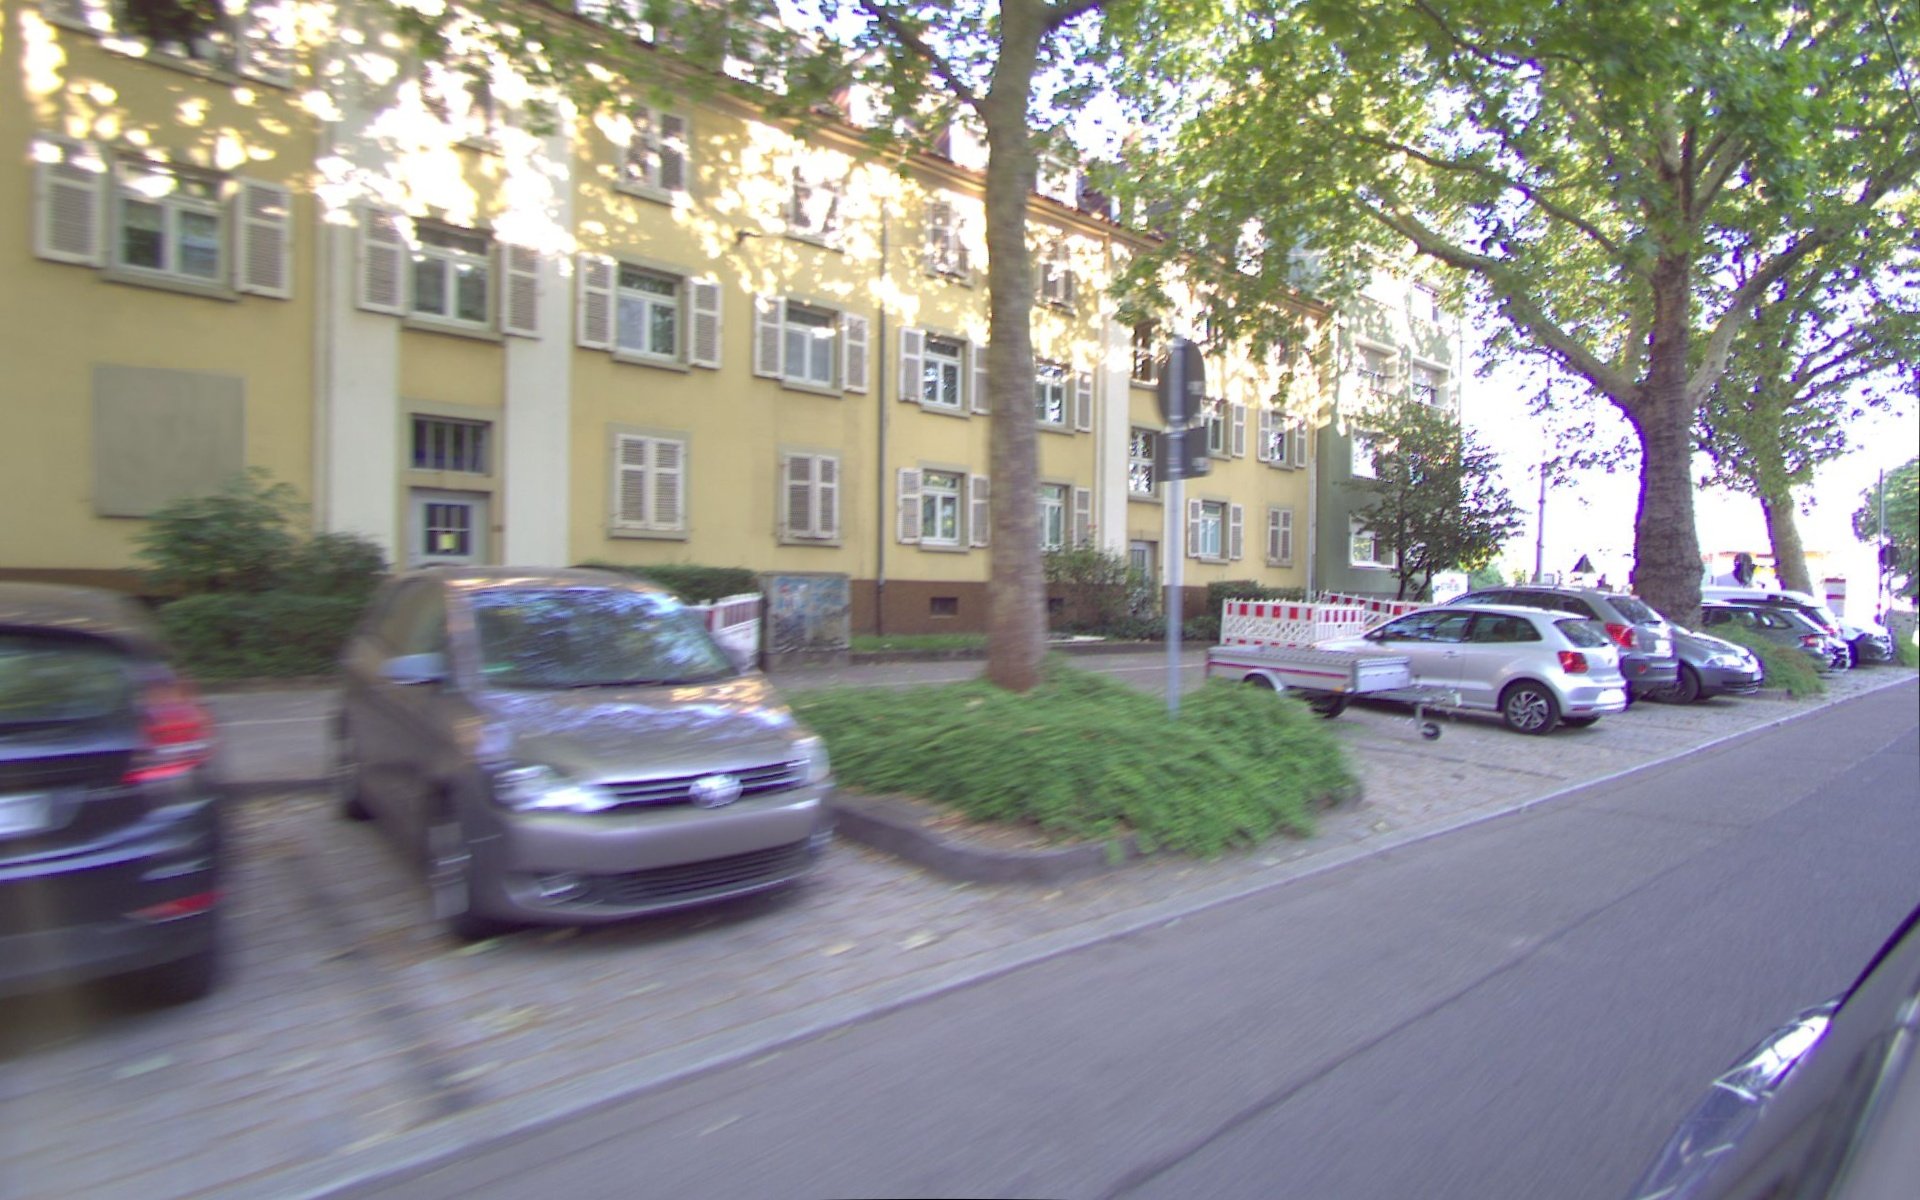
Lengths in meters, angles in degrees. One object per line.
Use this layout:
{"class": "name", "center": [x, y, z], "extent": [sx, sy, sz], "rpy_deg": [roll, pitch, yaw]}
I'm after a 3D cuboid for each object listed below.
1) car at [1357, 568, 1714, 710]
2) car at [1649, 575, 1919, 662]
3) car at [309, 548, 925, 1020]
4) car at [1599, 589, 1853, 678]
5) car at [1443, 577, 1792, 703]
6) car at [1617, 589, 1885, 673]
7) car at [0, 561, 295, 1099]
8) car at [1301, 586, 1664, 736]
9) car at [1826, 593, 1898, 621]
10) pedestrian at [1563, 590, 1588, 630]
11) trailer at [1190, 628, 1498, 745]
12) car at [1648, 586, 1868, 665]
{"class": "car", "center": [8.552, 0.461, 15.413], "extent": [1.806, 1.753, 4.323], "rpy_deg": [1, 2, -36]}
{"class": "car", "center": [21.069, 0.363, 26.092], "extent": [1.881, 1.878, 5.124], "rpy_deg": [-1, 3, -40]}
{"class": "car", "center": [-2.168, 0.531, 5.514], "extent": [1.798, 1.569, 4.085], "rpy_deg": [0, 2, -40]}
{"class": "car", "center": [15.535, 0.608, 20.660], "extent": [1.712, 1.516, 3.886], "rpy_deg": [0, 2, -43]}
{"class": "car", "center": [10.574, 0.521, 16.554], "extent": [1.875, 1.678, 4.433], "rpy_deg": [0, 2, -41]}
{"class": "car", "center": [17.491, 0.608, 22.575], "extent": [1.785, 1.542, 4.410], "rpy_deg": [1, 2, -40]}
{"class": "car", "center": [-4.015, 0.588, 4.000], "extent": [1.708, 1.444, 3.657], "rpy_deg": [0, 2, -43]}
{"class": "car", "center": [6.536, 0.647, 12.969], "extent": [1.832, 1.441, 3.662], "rpy_deg": [1, 3, -39]}
{"class": "car", "center": [51.166, 0.436, 57.497], "extent": [1.619, 1.455, 3.551], "rpy_deg": [-1, -2, 17]}
{"class": "pedestrian", "center": [25.525, 0.410, 41.971], "extent": [0.677, 1.652, 0.640], "rpy_deg": [1, 0, 12]}
{"class": "trailer", "center": [4.289, 0.898, 11.664], "extent": [1.408, 0.914, 3.052], "rpy_deg": [0, 3, -34]}
{"class": "car", "center": [19.167, 0.544, 24.426], "extent": [1.764, 1.625, 3.882], "rpy_deg": [0, 2, -41]}
